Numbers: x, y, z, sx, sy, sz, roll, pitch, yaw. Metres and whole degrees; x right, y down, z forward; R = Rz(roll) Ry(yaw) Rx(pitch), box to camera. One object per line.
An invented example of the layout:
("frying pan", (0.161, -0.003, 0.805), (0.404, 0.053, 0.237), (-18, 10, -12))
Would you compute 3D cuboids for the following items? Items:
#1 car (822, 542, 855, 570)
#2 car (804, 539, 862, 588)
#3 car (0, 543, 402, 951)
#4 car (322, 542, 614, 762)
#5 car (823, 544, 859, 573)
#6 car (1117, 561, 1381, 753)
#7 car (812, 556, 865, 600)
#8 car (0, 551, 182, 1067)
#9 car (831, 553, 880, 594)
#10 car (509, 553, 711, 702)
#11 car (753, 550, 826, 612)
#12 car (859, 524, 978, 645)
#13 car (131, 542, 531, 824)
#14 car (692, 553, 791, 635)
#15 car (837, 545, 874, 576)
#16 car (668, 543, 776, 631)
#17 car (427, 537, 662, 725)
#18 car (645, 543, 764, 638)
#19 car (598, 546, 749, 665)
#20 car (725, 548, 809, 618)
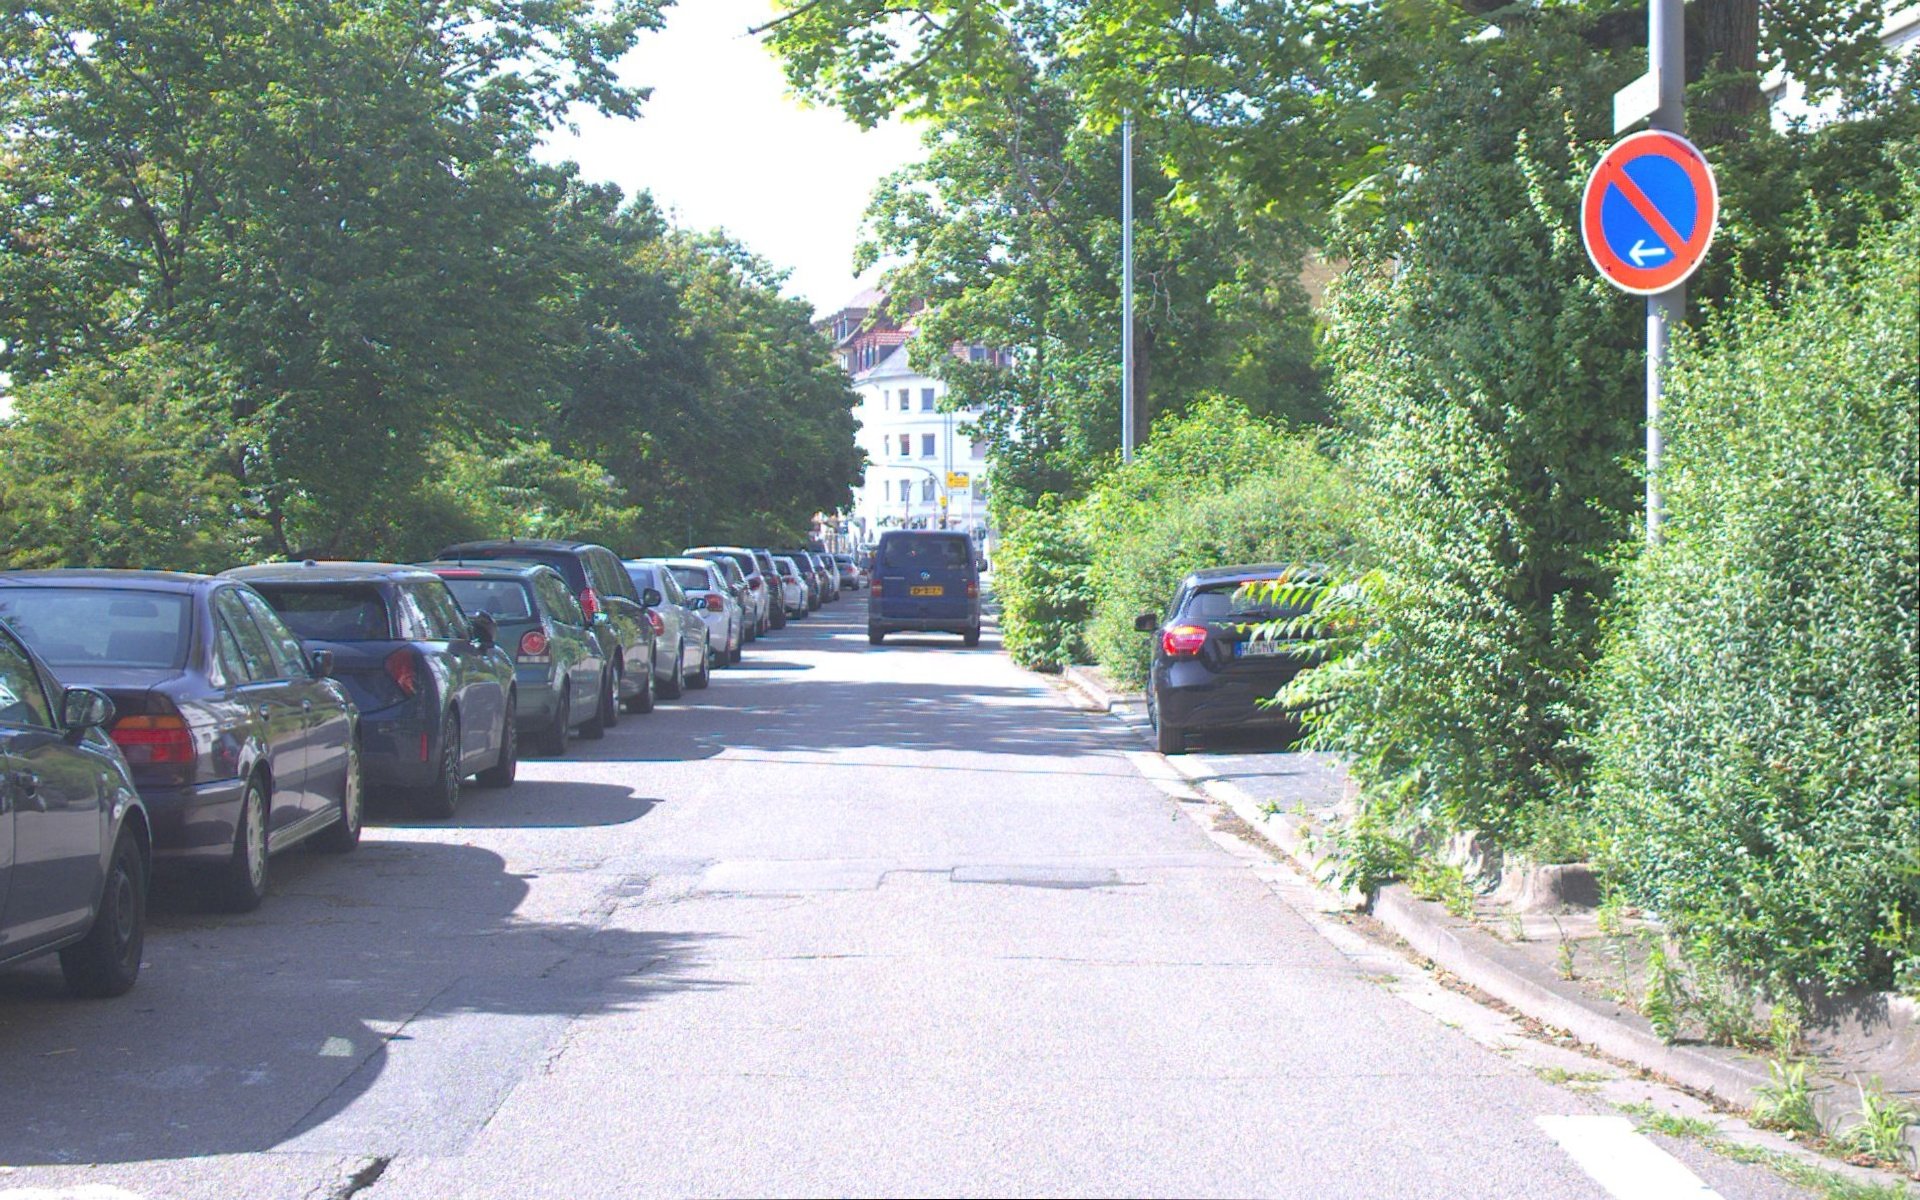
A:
("car", (-7.429, -2.694, 210.561), (1.993, 1.651, 3.741), (0, 1, -1))
("car", (-3.953, -1.146, 107.261), (1.664, 1.504, 4.008), (0, 1, 0))
("car", (-3.755, 0.529, 15.587), (1.664, 1.506, 4.594), (2, 1, 0))
("car", (-3.724, 0.344, 26.579), (1.664, 1.506, 3.789), (2, 1, 0))
("car", (-6.820, -2.390, 197.506), (1.993, 1.651, 4.000), (0, 1, -1))
("car", (2.264, 0.408, 27.838), (1.726, 1.415, 4.000), (-1, 1, -1))
("car", (-4.672, -0.861, 132.843), (1.993, 1.651, 4.000), (0, 1, -1))
("car", (-3.586, 0.602, 10.227), (1.664, 1.469, 3.876), (0, 1, 0))
("car", (-4.310, -1.117, 142.645), (1.993, 1.651, 4.000), (0, 1, -1))
("car", (-3.647, 0.247, 36.425), (1.664, 1.402, 4.320), (2, 1, 0))
("car", (-4.478, -0.514, 90.608), (1.664, 1.504, 4.008), (2, 1, 0))
("car", (-0.679, -0.285, 58.500), (1.883, 1.915, 4.008), (2, 1, 0))
("car", (-3.667, 0.419, 20.640), (1.664, 1.468, 3.789), (2, 1, 0))
("car", (-4.327, -0.153, 68.515), (1.664, 1.504, 4.008), (2, 1, 0))
("car", (-5.619, -2.134, 185.490), (1.993, 1.651, 4.000), (0, 1, -1))
("car", (-4.351, -0.271, 63.311), (1.664, 1.504, 4.008), (2, 1, 0))
("car", (-3.709, 0.230, 31.263), (1.664, 1.578, 3.932), (0, 1, 0))
("car", (-4.230, -0.186, 57.405), (1.664, 1.504, 4.201), (0, 1, 0))
("car", (-3.854, 0.039, 46.863), (1.664, 1.463, 4.201), (2, 1, 0))
("car", (-4.444, -0.406, 79.465), (1.664, 1.504, 4.008), (2, 1, 0))
